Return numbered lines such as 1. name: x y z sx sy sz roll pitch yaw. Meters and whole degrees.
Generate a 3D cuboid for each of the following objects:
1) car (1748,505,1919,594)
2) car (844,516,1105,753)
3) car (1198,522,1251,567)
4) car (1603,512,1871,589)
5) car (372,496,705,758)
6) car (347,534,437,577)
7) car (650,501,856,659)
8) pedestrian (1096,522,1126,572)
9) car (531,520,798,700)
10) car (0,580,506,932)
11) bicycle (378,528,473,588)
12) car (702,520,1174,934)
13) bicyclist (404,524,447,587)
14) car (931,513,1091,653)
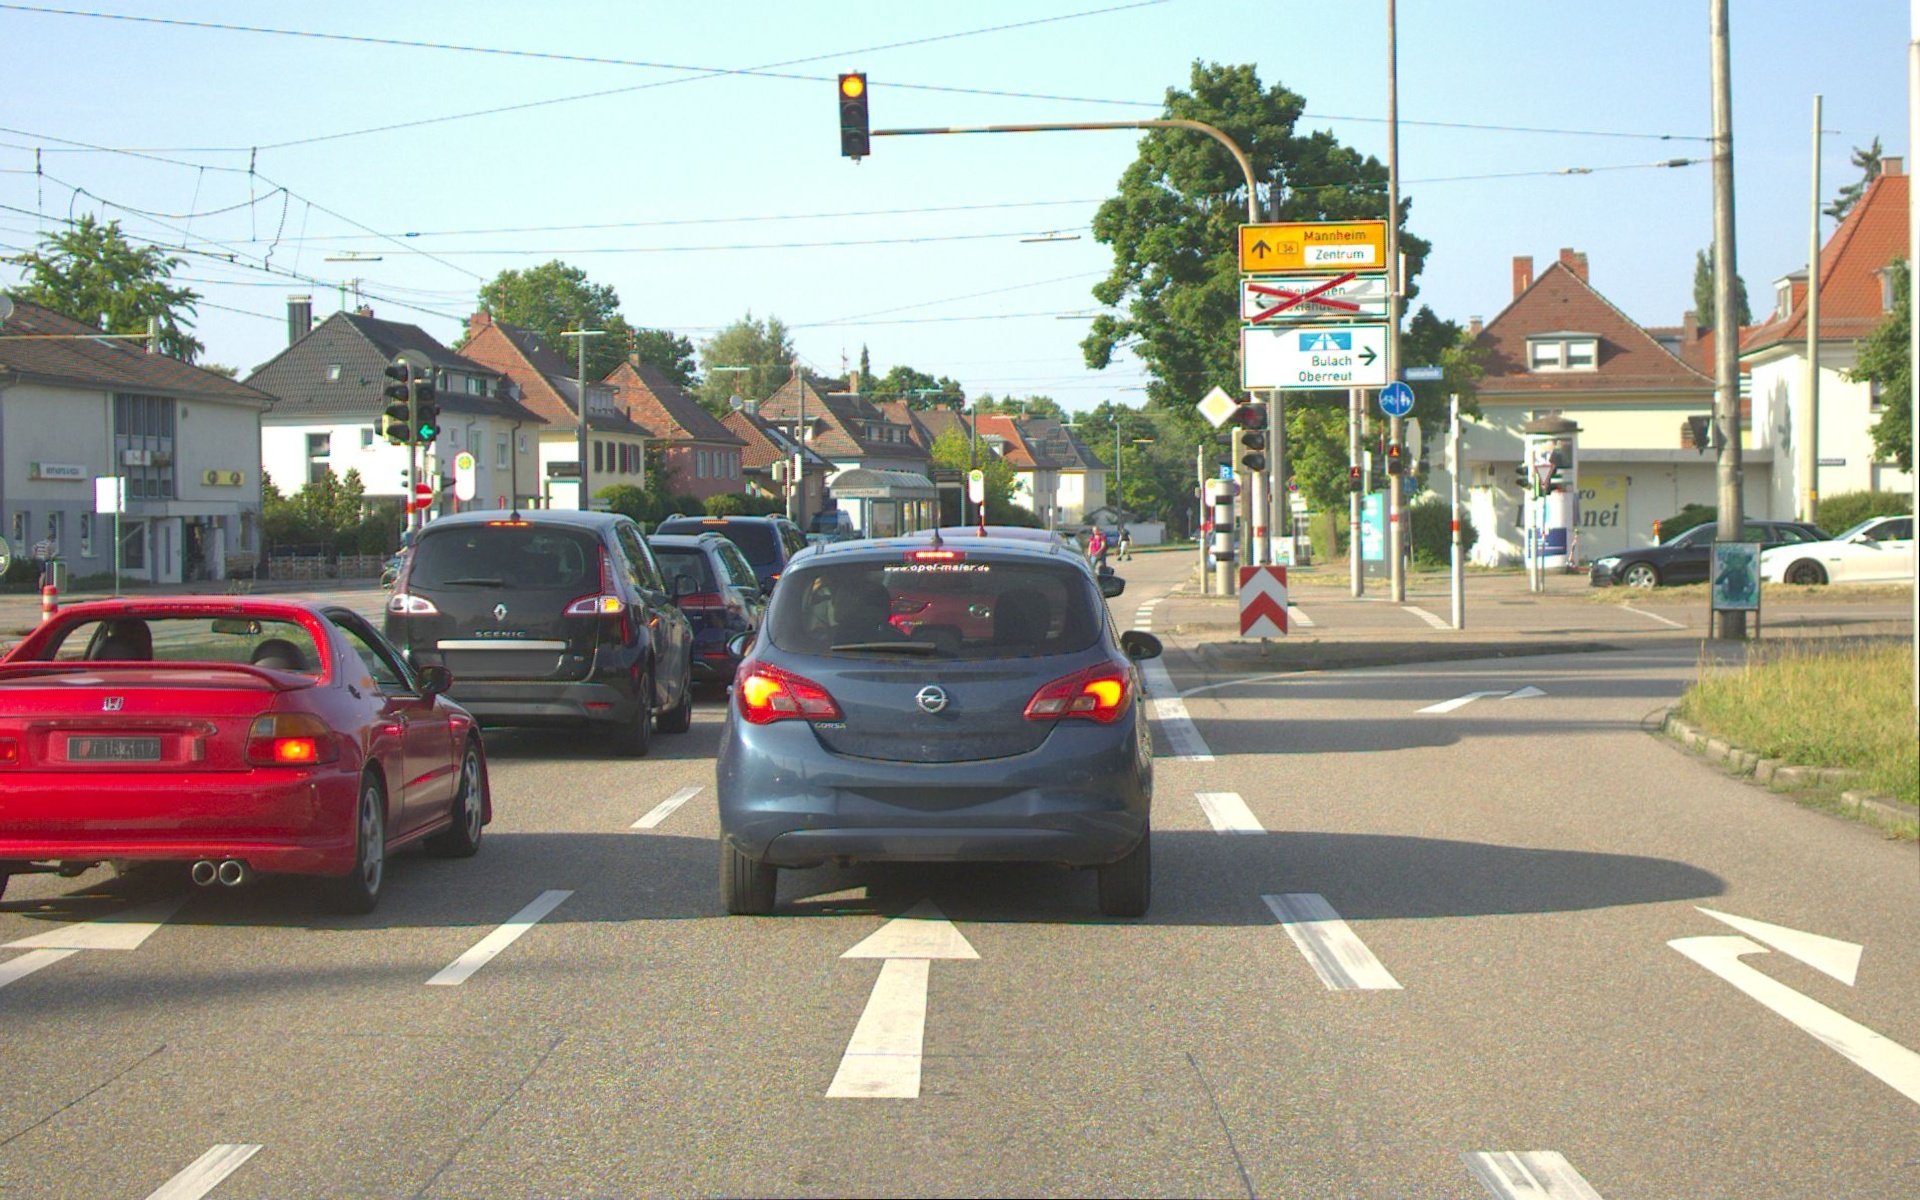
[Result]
1. car: 17.051 -0.934 62.499 5.095 1.557 1.840 -1 1 5
2. car: 0.128 0.183 24.739 1.706 1.546 3.978 -1 1 1
3. car: 8.559 -1.777 111.315 1.675 1.393 3.999 1 1 4
4. car: 14.932 -0.960 66.251 4.824 1.406 1.715 -1 1 5
5. car: -2.822 0.123 23.848 1.763 1.665 4.084 0 1 1
6. car: -18.389 -1.419 111.394 1.664 1.341 4.075 -1 0 9
7. car: -2.252 -0.265 38.581 1.507 1.645 4.743 -1 1 6
8. pedestrian: 4.535 -1.596 103.243 0.753 1.494 0.827 1 0 11
9. car: -2.587 0.026 31.133 1.700 1.503 4.553 0 1 4
10. car: -3.066 0.557 14.447 1.731 1.202 3.847 0 1 1
11. bicycle: -12.347 -0.959 79.440 2.073 1.343 1.109 1 0 -5
12. car: -0.118 0.423 14.878 1.741 1.500 4.223 -1 2 -1
13. bicyclist: -12.348 -1.027 79.413 0.884 1.426 1.137 1 0 -5
14. car: 0.581 -0.219 37.952 1.656 1.438 4.014 -1 1 1
